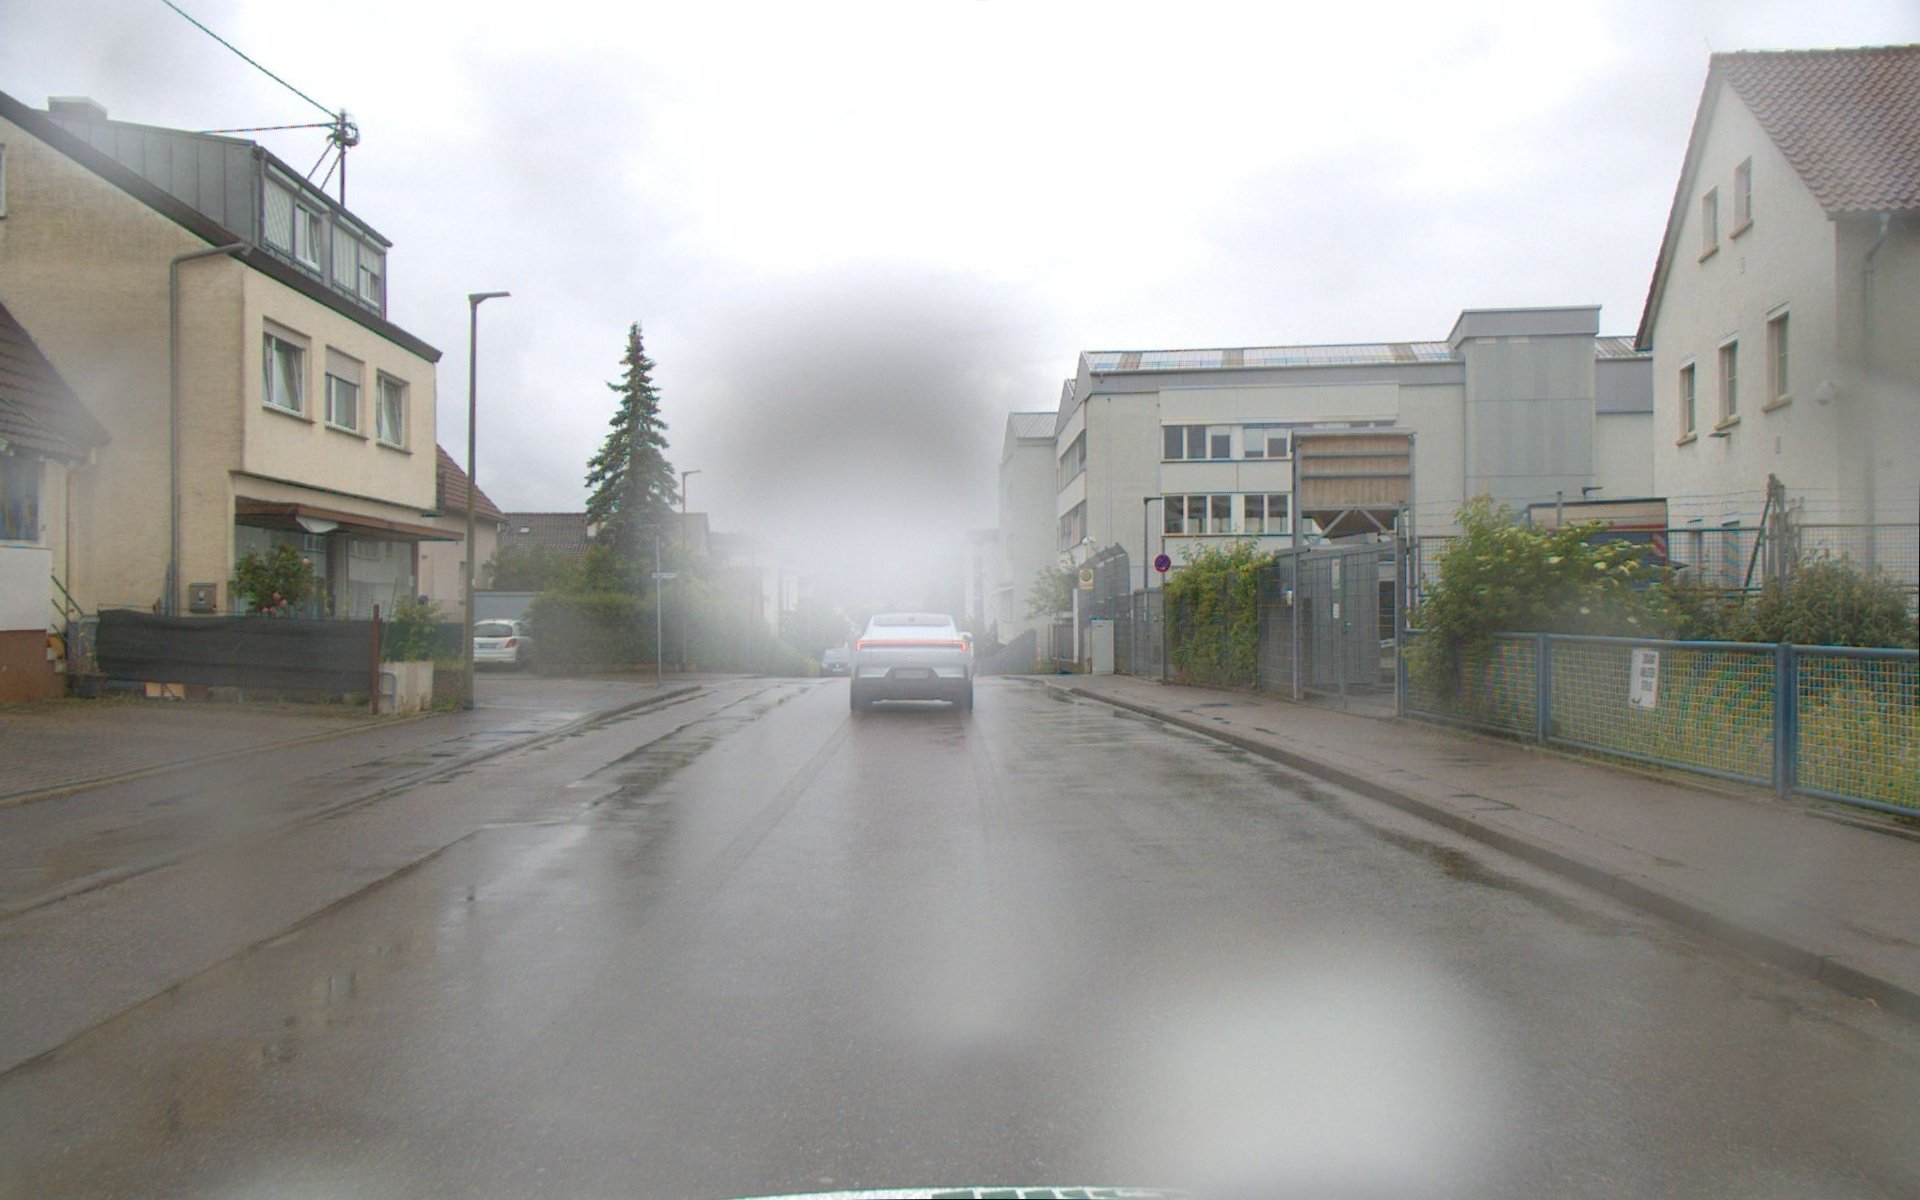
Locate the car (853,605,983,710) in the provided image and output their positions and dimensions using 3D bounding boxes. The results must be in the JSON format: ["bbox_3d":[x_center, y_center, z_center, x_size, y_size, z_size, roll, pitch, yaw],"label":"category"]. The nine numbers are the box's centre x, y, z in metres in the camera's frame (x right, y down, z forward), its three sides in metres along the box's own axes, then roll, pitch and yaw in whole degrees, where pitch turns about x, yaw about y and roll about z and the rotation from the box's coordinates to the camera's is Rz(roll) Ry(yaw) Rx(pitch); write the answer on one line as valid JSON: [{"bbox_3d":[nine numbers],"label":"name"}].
[{"bbox_3d":[-0.696,0.882,27.422,1.953,1.528,4.668,1,0,-2],"label":"car"}]

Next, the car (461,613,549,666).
[{"bbox_3d":[-14.103,1.194,51.483,1.758,1.534,3.998,0,0,-2],"label":"car"}]

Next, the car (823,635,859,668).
[{"bbox_3d":[-5.677,2.477,79.450,1.642,1.555,3.997,0,-1,-3],"label":"car"}]

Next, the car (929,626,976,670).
[{"bbox_3d":[-0.414,2.407,81.709,1.955,2.049,3.994,-1,-3,-5],"label":"car"}]
